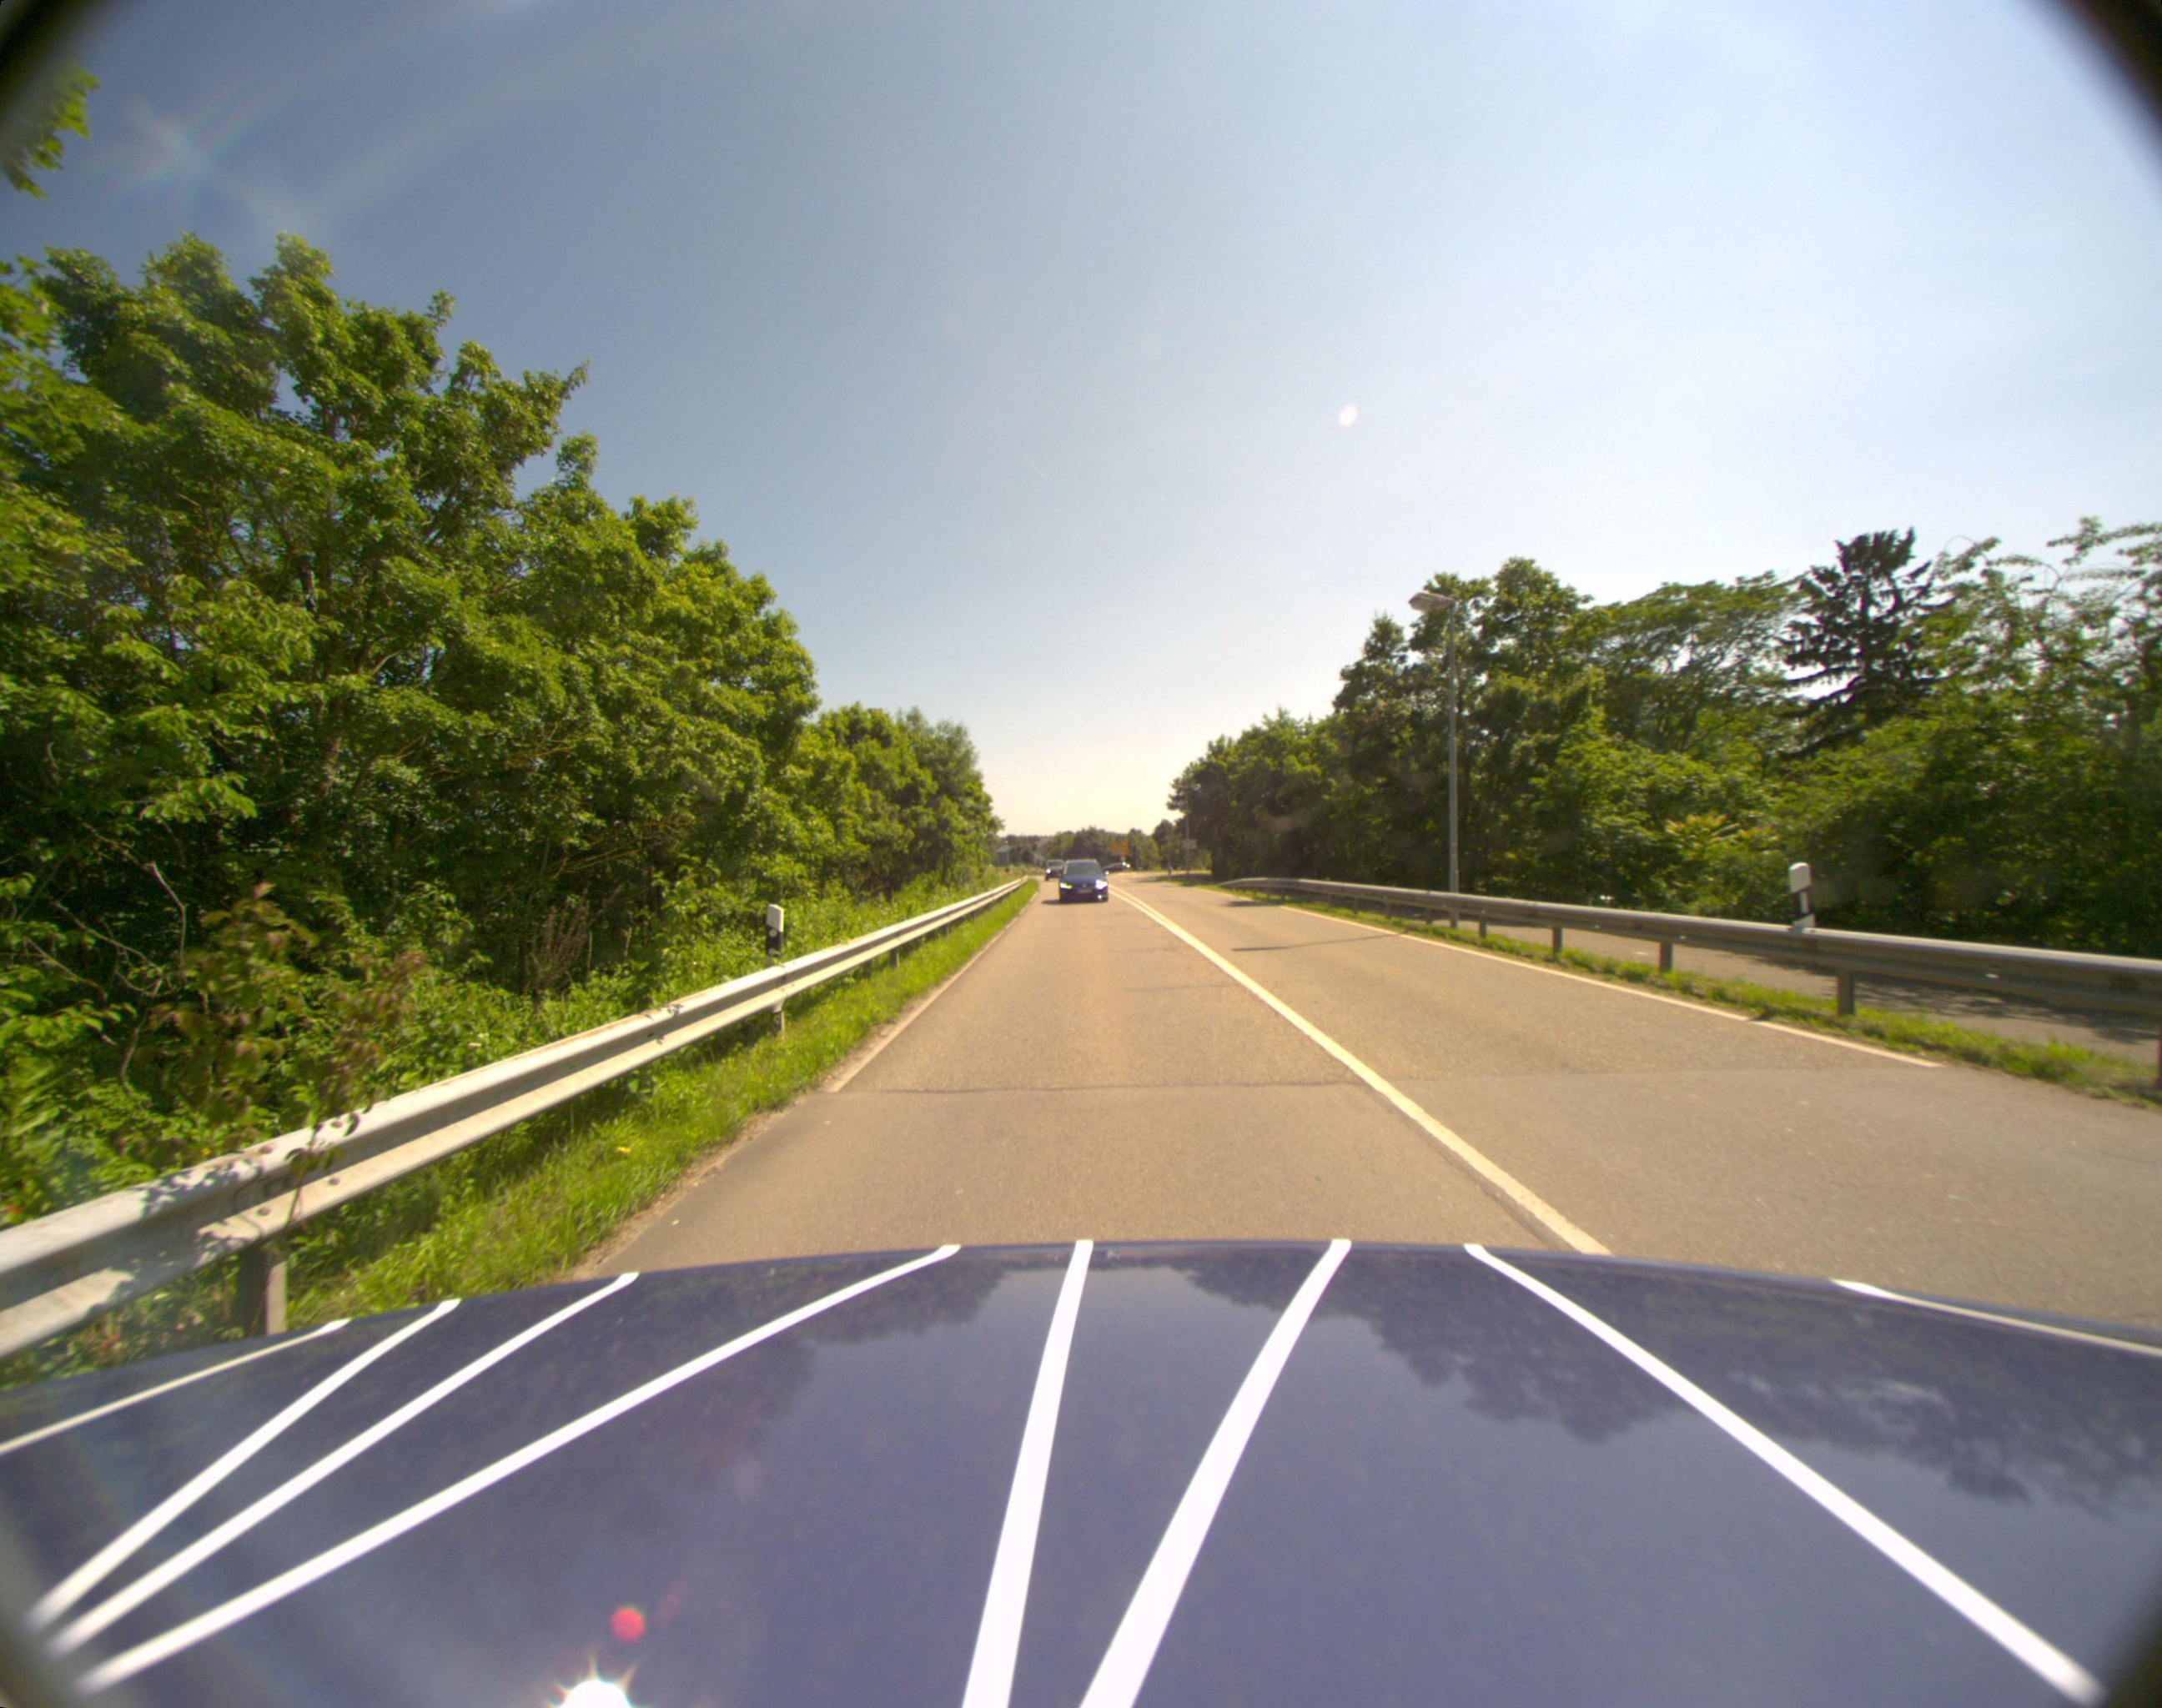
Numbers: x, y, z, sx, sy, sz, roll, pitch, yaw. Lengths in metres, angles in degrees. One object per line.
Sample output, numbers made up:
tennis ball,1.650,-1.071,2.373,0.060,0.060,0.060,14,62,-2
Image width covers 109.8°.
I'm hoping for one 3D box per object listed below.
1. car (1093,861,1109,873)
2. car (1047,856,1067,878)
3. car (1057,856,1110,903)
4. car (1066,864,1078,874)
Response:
car,2.520,1.615,95.498,1.744,1.447,3.888,-3,0,0
car,-2.206,1.193,71.437,1.779,2.006,4.000,0,-1,0
car,0.144,0.918,28.748,1.828,1.591,4.196,-2,0,1
car,-1.278,2.155,111.743,1.631,1.396,3.432,-3,0,-2
